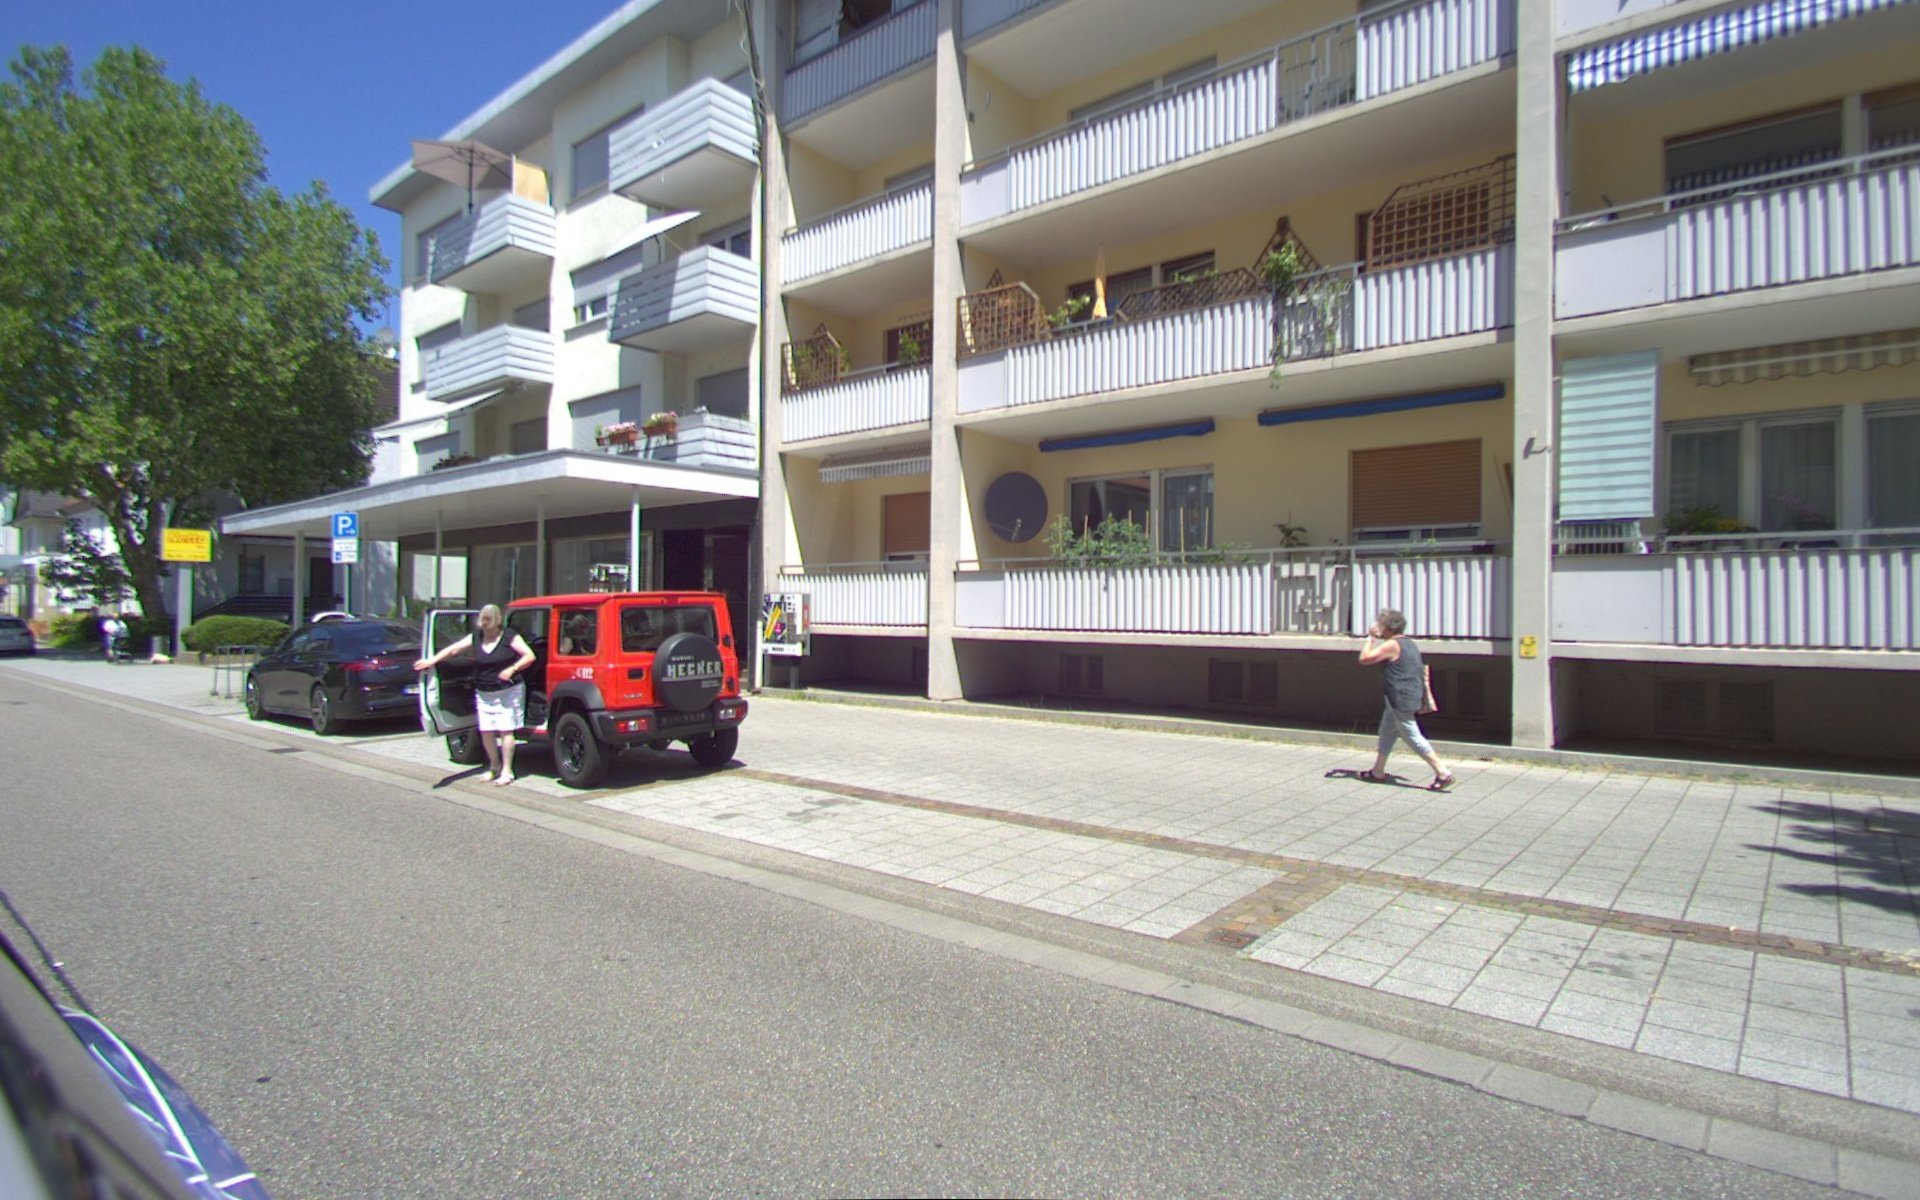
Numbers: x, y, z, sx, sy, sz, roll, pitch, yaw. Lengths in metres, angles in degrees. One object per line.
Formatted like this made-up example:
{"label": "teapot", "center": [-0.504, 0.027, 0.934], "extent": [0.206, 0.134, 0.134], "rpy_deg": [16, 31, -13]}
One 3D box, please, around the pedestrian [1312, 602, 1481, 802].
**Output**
{"label": "pedestrian", "center": [3.599, 0.789, 8.361], "extent": [1.096, 1.504, 0.690], "rpy_deg": [-1, 1, 40]}

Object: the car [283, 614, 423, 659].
{"label": "car", "center": [-21.265, 1.257, 35.512], "extent": [3.952, 1.498, 1.891], "rpy_deg": [0, -1, 10]}

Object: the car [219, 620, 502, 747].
{"label": "car", "center": [-8.574, 1.031, 14.256], "extent": [5.044, 1.428, 1.877], "rpy_deg": [-1, 0, 40]}

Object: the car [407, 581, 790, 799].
{"label": "car", "center": [-3.700, 0.725, 10.005], "extent": [4.098, 1.715, 1.735], "rpy_deg": [-1, 0, 40]}

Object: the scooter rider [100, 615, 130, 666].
{"label": "scooter rider", "center": [-26.979, 1.296, 32.322], "extent": [0.877, 1.587, 0.582], "rpy_deg": [-2, 0, 42]}

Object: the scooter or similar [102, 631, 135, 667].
{"label": "scooter or similar", "center": [-26.592, 1.532, 31.967], "extent": [1.028, 1.106, 0.656], "rpy_deg": [-1, 0, 42]}

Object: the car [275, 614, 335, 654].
{"label": "car", "center": [-26.991, 1.365, 41.630], "extent": [1.783, 1.557, 4.115], "rpy_deg": [2, -2, -37]}

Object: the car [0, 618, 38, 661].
{"label": "car", "center": [-35.360, 1.413, 36.862], "extent": [5.146, 1.463, 1.961], "rpy_deg": [-1, -1, 40]}

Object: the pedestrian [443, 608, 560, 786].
{"label": "pedestrian", "center": [-4.132, 0.856, 9.178], "extent": [0.717, 1.546, 0.729], "rpy_deg": [0, -2, 0]}
